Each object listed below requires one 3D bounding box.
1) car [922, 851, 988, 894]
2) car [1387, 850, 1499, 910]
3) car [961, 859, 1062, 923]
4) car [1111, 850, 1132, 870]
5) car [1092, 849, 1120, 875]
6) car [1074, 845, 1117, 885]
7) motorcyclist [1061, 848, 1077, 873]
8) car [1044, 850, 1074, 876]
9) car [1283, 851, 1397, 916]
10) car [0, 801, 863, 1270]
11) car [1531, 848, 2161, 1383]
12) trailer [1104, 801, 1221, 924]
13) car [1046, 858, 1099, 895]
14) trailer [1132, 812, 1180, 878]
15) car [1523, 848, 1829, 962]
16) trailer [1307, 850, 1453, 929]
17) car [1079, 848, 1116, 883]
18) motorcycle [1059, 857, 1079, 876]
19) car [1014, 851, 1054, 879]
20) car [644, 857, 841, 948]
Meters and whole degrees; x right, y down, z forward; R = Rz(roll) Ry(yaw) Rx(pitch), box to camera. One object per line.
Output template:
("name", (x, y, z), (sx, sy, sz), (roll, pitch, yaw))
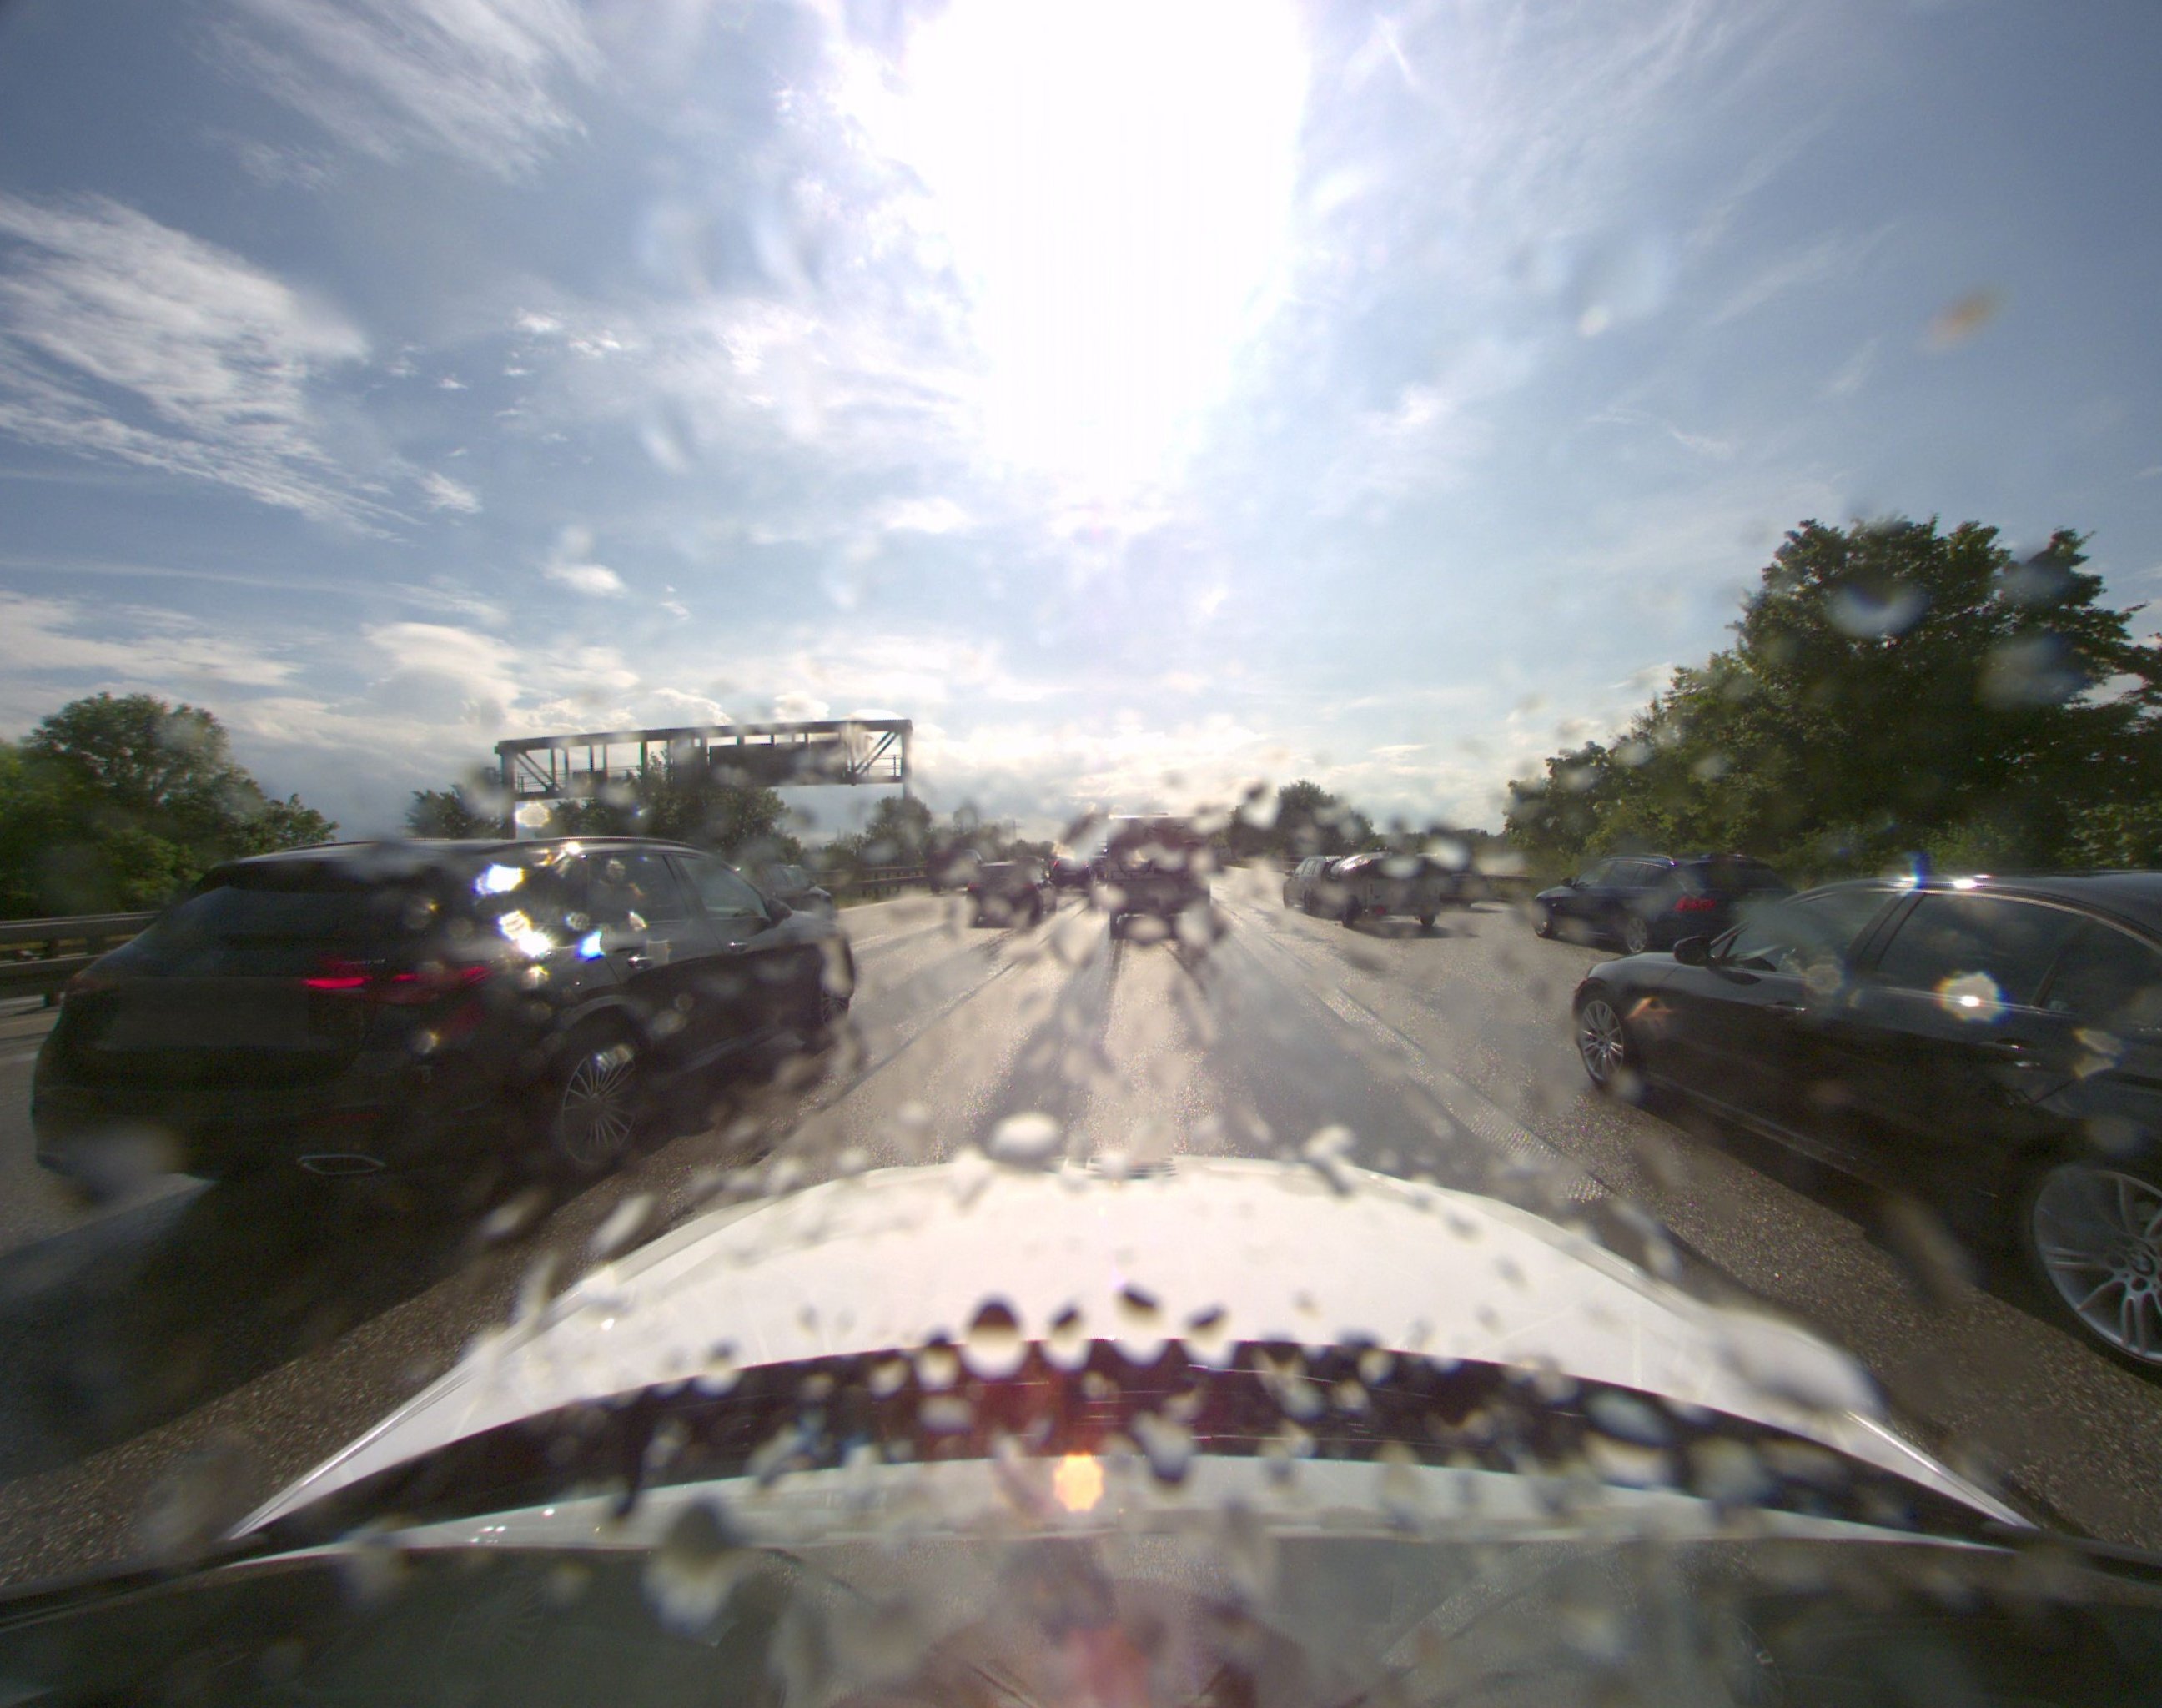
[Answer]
("car", (-5.248, 0.742, 34.433), (1.985, 1.720, 4.003), (0, 0, 3))
("car", (9.812, 0.663, 22.386), (1.664, 1.482, 3.676), (-1, 0, 4))
("car", (-1.591, 0.838, 20.071), (1.748, 1.387, 3.951), (-1, 0, 5))
("car", (4.238, 0.657, 84.889), (1.984, 2.014, 4.006), (-1, 0, 5))
("car", (2.001, 0.591, 65.176), (1.984, 2.014, 4.006), (0, 0, 5))
("car", (0.815, 0.566, 43.482), (1.984, 2.014, 4.006), (0, 0, 5))
("motorcyclist", (-0.825, 0.469, 57.936), (1.059, 1.718, 0.786), (-1, -1, 5))
("car", (-1.808, 0.739, 68.894), (1.984, 2.013, 4.006), (3, 0, 5))
("car", (6.437, 0.679, 20.719), (1.846, 1.442, 4.263), (-1, 0, 4))
("car", (-3.122, 0.670, 5.149), (1.984, 1.661, 4.411), (-1, 0, 4))
("car", (3.892, 0.700, 3.756), (1.732, 1.420, 3.840), (-1, 0, 4))
("trailer", (1.913, 0.193, 19.803), (2.363, 2.483, 6.531), (0, 0, 4))
("car", (-0.281, 0.859, 33.036), (1.798, 1.407, 4.005), (0, 0, 5))
("trailer", (5.286, -0.530, 56.105), (2.991, 4.166, 8.552), (-1, 0, 7))
("car", (8.525, 0.638, 12.237), (1.762, 1.401, 4.296), (-1, 0, 5))
("trailer", (6.159, 0.669, 17.287), (1.846, 1.442, 4.153), (-1, 0, 4))
("car", (1.078, 0.714, 51.347), (1.984, 2.013, 4.006), (3, 0, 5))
("motorcycle", (-0.827, 0.883, 57.857), (1.068, 1.271, 2.694), (-1, 0, 5))
("car", (-3.086, 0.727, 54.077), (1.984, 1.772, 4.006), (-1, 0, 5))
("car", (-6.407, 0.832, 16.001), (1.748, 1.516, 4.215), (-1, 0, 6))
